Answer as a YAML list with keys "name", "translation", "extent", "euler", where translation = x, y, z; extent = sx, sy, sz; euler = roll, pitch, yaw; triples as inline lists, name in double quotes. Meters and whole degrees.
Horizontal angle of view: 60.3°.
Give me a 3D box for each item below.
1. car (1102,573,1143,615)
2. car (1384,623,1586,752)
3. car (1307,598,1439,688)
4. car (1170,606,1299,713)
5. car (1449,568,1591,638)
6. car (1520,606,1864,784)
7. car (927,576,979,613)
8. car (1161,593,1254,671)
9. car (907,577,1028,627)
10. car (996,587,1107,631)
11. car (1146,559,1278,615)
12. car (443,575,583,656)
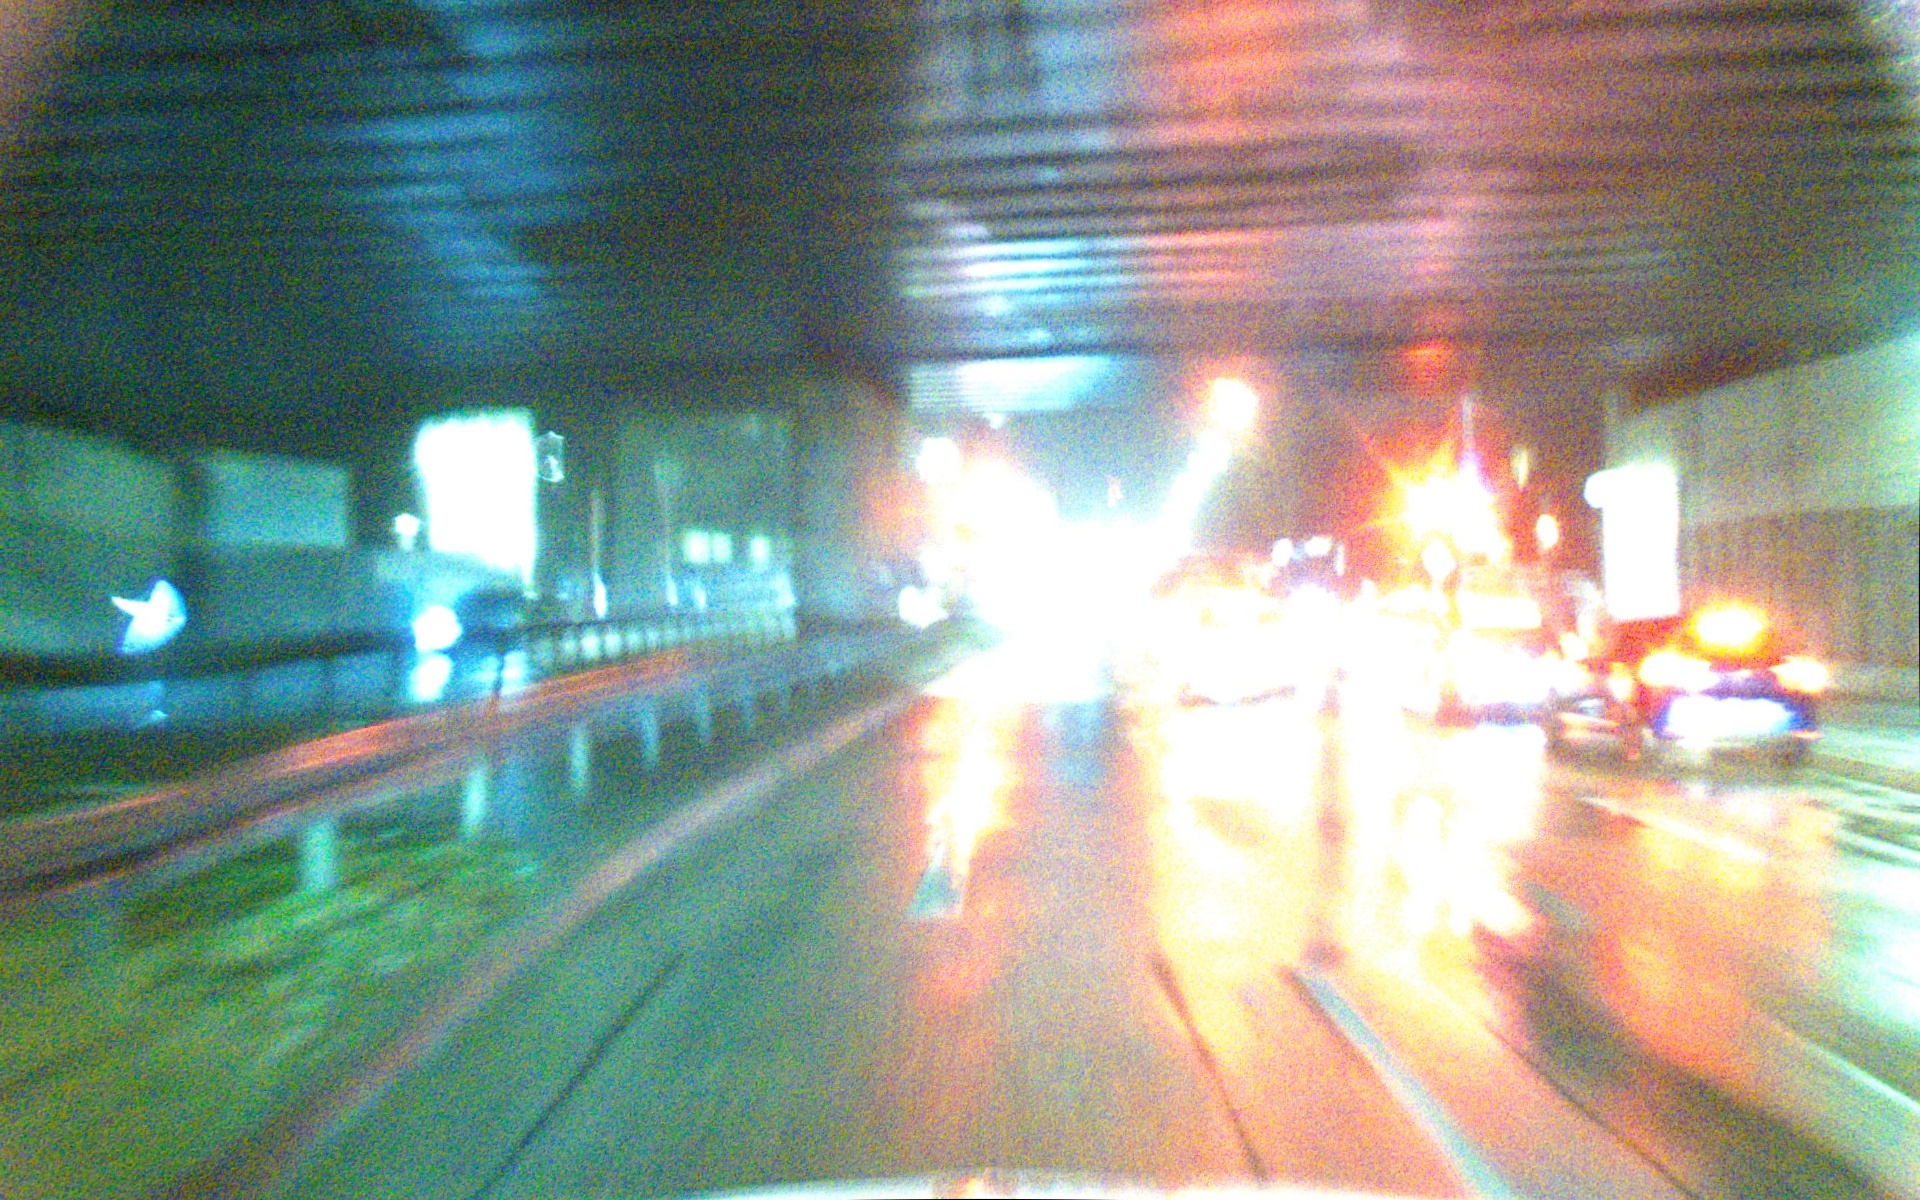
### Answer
- name: "car"
  translation: [8.205, -0.274, 83.157]
  extent: [1.951, 2.049, 4.003]
  euler: [1, 0, 6]
- name: "car"
  translation: [7.011, 1.100, 22.557]
  extent: [1.683, 1.513, 4.790]
  euler: [0, 0, 6]
- name: "car"
  translation: [7.250, 0.721, 29.369]
  extent: [1.683, 1.472, 4.165]
  euler: [-1, 0, 6]
- name: "car"
  translation: [4.098, 0.834, 25.202]
  extent: [1.683, 1.472, 4.165]
  euler: [1, 0, 6]
- name: "car"
  translation: [17.236, 0.083, 51.065]
  extent: [3.902, 2.049, 2.002]
  euler: [1, 0, 10]
- name: "car"
  translation: [7.016, 0.825, 16.352]
  extent: [1.684, 1.513, 4.163]
  euler: [-1, 0, 2]
- name: "car"
  translation: [-0.314, -0.243, 77.646]
  extent: [1.951, 1.646, 4.003]
  euler: [1, 0, 6]
- name: "car"
  translation: [5.023, 0.623, 33.987]
  extent: [1.683, 1.472, 4.385]
  euler: [-1, 0, 6]
- name: "car"
  translation: [0.240, 0.056, 61.687]
  extent: [1.821, 1.800, 4.765]
  euler: [1, 0, -41]
- name: "car"
  translation: [3.554, 0.327, 64.855]
  extent: [1.821, 1.651, 4.314]
  euler: [1, 0, -42]
- name: "car"
  translation: [10.452, -0.542, 68.897]
  extent: [2.430, 2.232, 4.996]
  euler: [1, 0, -44]
- name: "car"
  translation: [-9.263, 0.315, 34.628]
  extent: [1.563, 1.563, 4.313]
  euler: [1, 0, 2]
